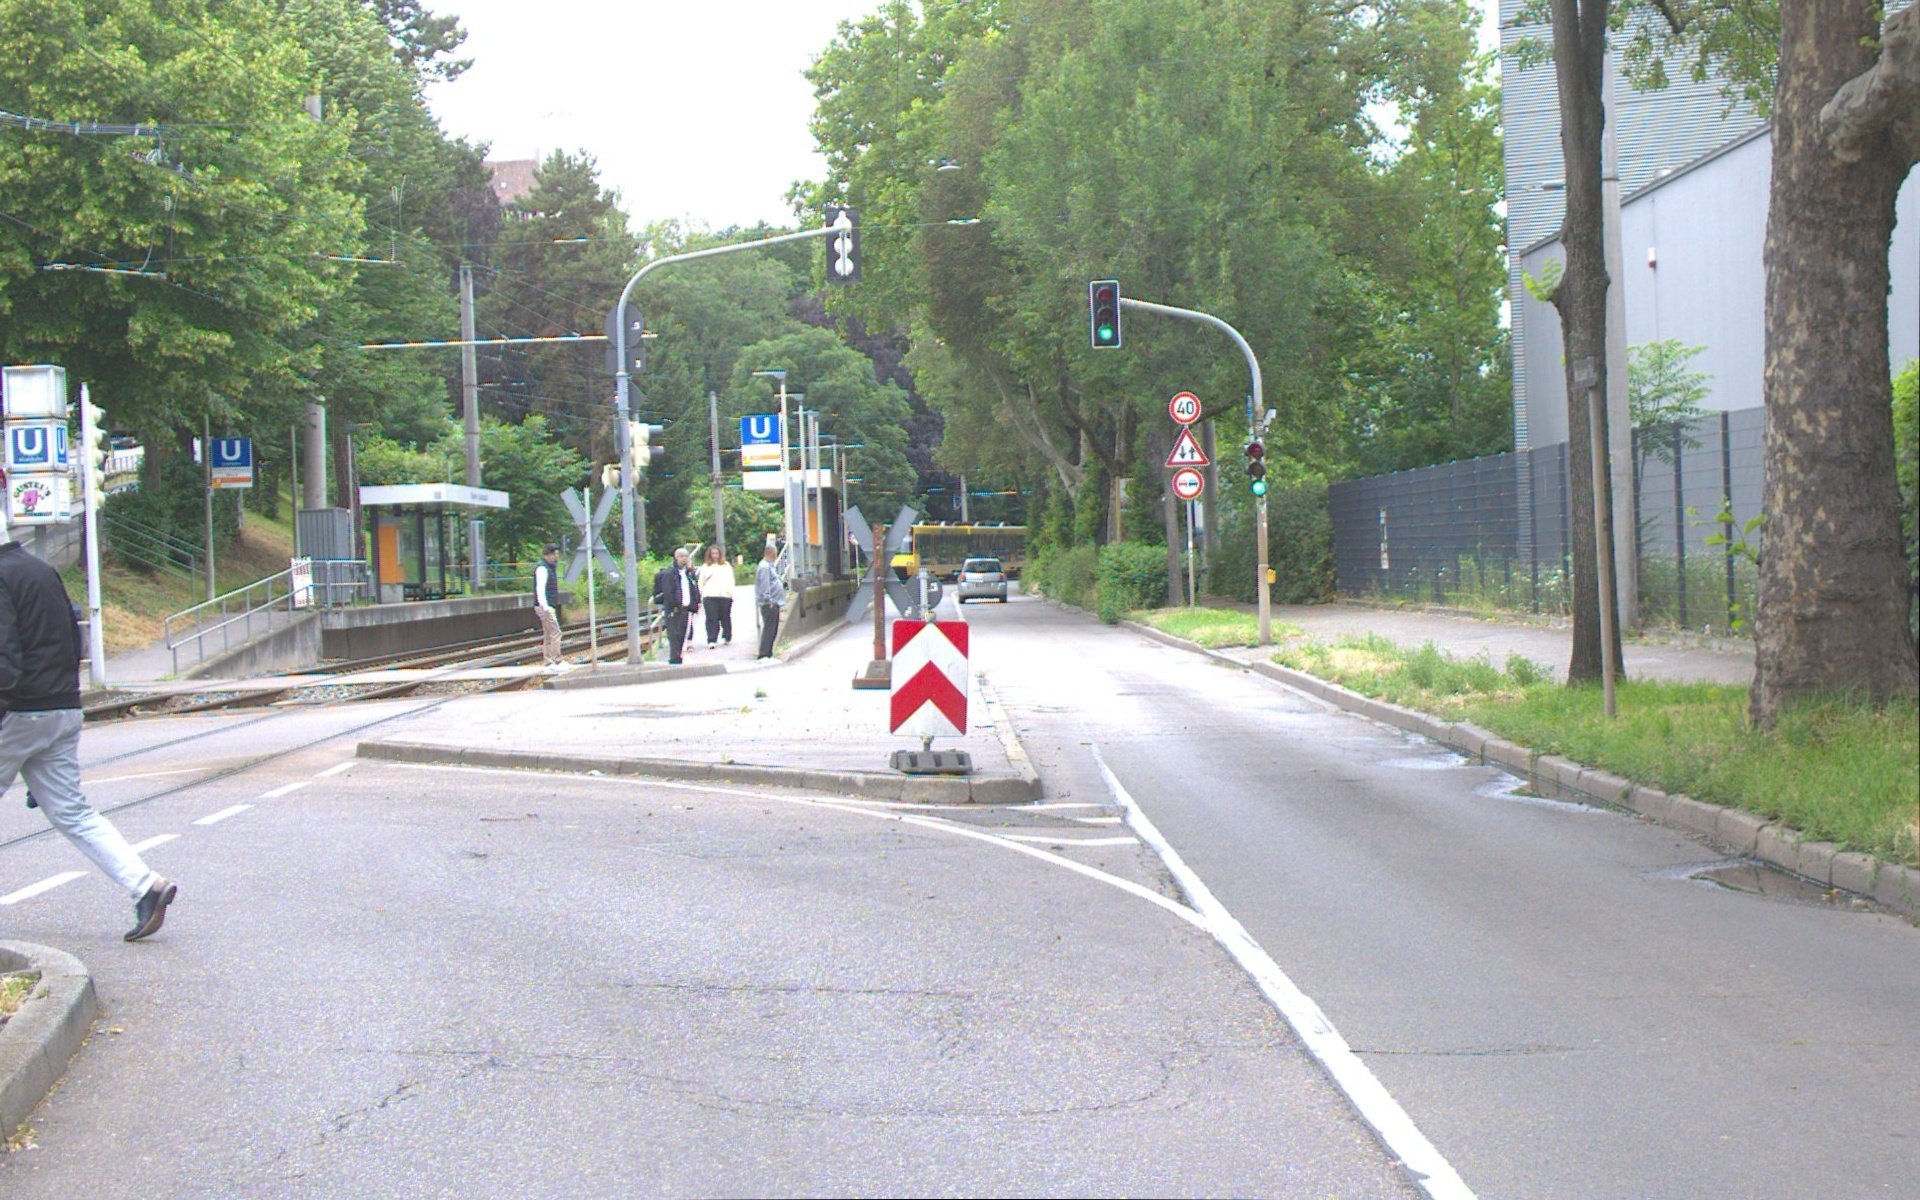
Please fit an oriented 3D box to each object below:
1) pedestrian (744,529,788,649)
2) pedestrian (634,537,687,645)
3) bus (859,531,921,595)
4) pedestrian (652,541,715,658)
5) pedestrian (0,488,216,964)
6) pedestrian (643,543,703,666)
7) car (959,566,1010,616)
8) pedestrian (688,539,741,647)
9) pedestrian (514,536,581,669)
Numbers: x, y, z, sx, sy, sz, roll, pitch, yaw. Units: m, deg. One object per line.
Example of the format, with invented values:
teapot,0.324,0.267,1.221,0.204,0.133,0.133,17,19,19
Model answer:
pedestrian,-2.865,-0.159,50.797,0.550,1.752,0.737,1,0,4
pedestrian,-4.633,-0.145,53.217,0.735,1.659,0.682,1,0,-11
bus,-4.066,-2.152,201.587,2.735,3.614,8.941,1,1,4
pedestrian,-3.973,-0.009,49.466,0.680,1.659,0.737,1,0,15
pedestrian,-3.571,0.456,13.319,1.119,1.754,0.811,1,1,39
pedestrian,-3.926,0.060,47.071,0.735,1.659,0.682,1,0,1
car,0.882,-0.352,124.430,1.743,1.593,4.001,0,3,-1
pedestrian,-3.824,-0.109,53.556,0.735,1.659,0.682,1,0,-11
pedestrian,-5.703,0.030,47.554,0.802,1.815,0.671,1,0,-16
